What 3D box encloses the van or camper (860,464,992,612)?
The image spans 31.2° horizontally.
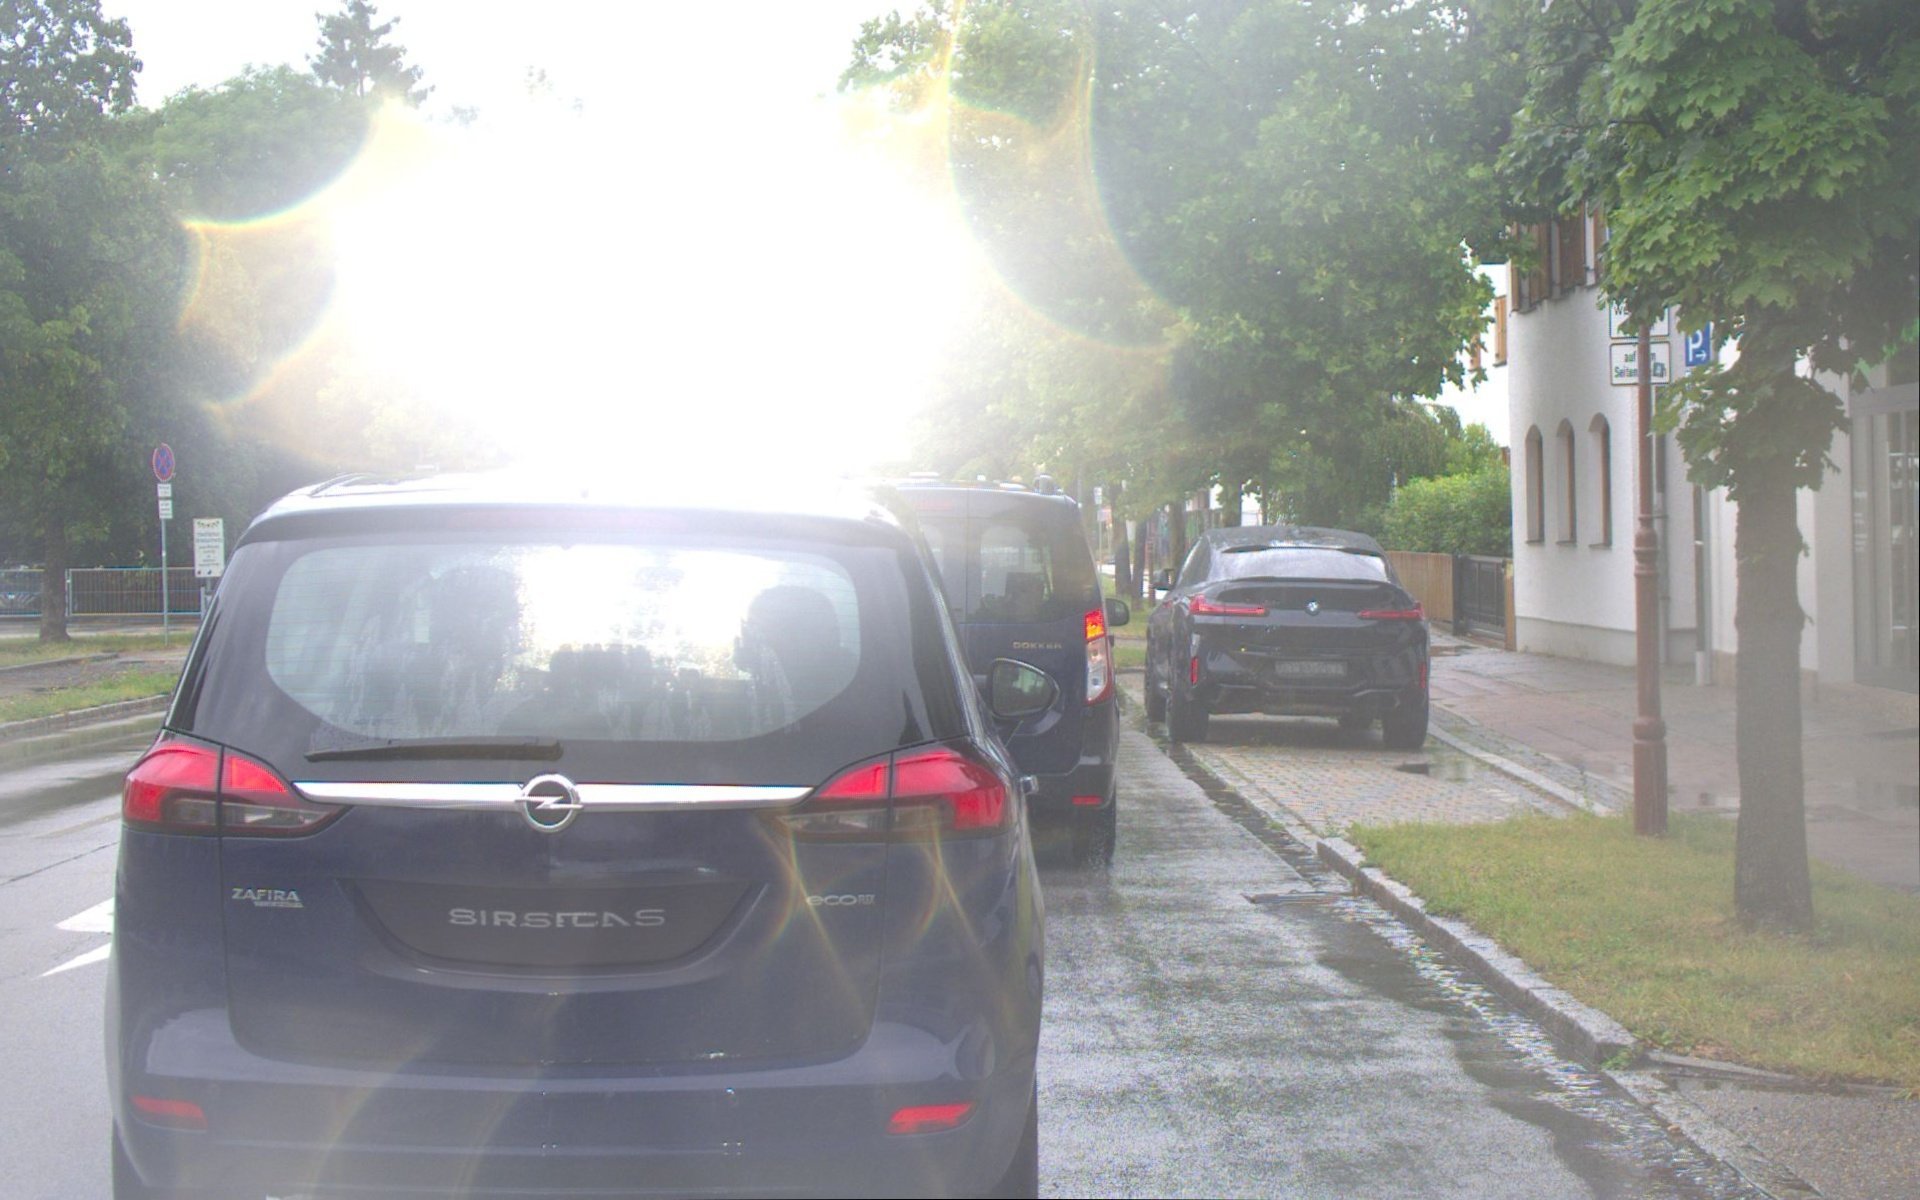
[{"bbox_3d":[-0.635,-1.174,65.036,2.360,2.656,5.372,-1,1,0],"label":"van or camper"}]

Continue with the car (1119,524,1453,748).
[{"bbox_3d":[2.420,0.233,26.536,2.117,1.576,3.936,1,1,-1],"label":"car"}]

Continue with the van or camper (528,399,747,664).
[{"bbox_3d":[-3.702,-0.757,38.481,2.093,2.698,6.270,-1,1,-8],"label":"van or camper"}]

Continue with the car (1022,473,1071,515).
[{"bbox_3d":[3.119,-3.836,124.748,1.630,1.373,3.623,-2,1,-1],"label":"car"}]

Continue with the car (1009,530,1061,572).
[{"bbox_3d":[2.509,-1.639,115.131,1.630,1.373,3.623,0,0,-1],"label":"car"}]

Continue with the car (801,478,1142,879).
[{"bbox_3d":[0.039,0.325,16.874,1.500,1.770,3.112,1,1,0],"label":"car"}]

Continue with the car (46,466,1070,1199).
[{"bbox_3d":[-0.712,0.543,7.800,1.768,1.599,3.663,0,1,0],"label":"car"}]
